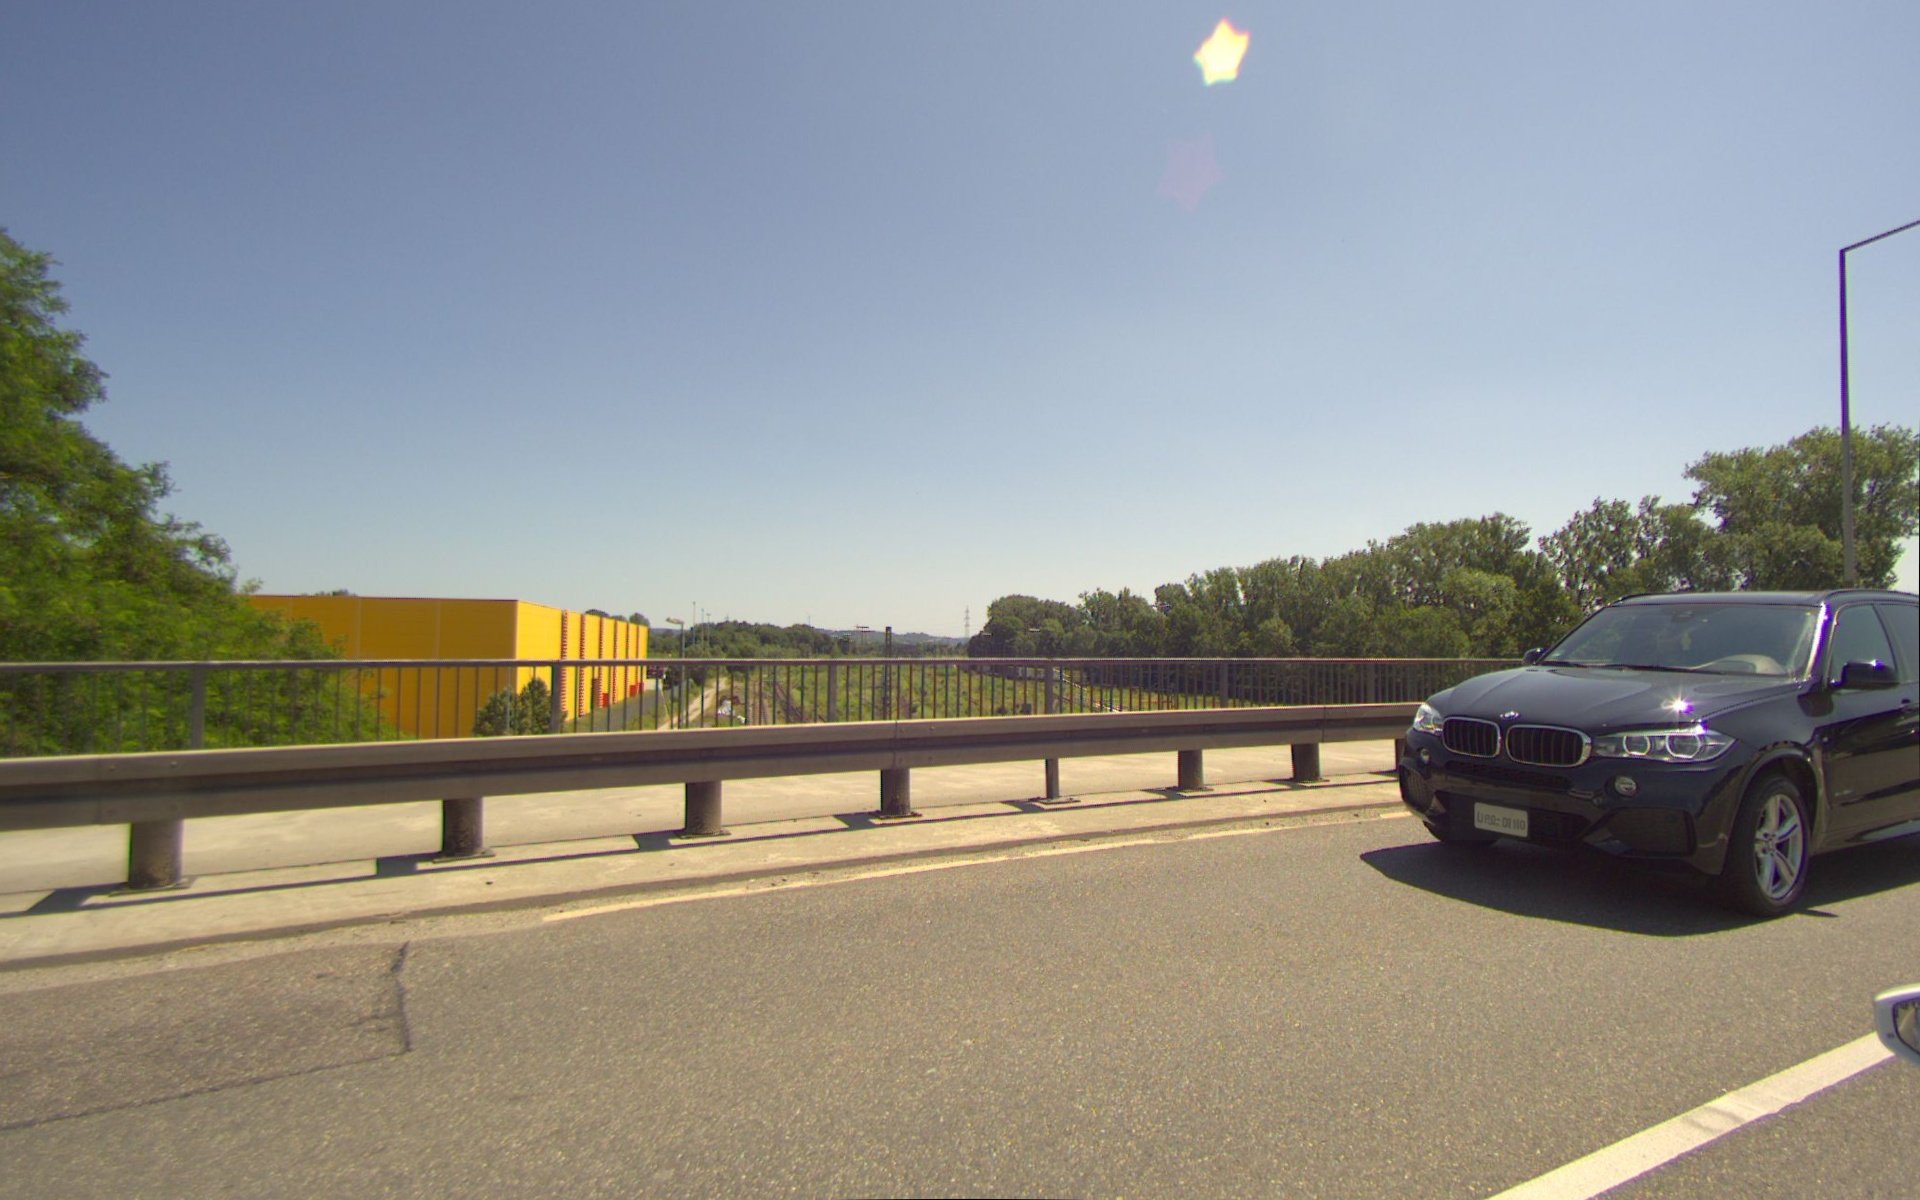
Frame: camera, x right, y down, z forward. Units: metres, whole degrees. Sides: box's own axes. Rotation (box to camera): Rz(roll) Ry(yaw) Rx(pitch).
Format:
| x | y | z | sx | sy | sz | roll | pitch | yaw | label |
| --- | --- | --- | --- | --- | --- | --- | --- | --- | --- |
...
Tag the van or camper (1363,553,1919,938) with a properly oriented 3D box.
| x | y | z | sx | sy | sz | roll | pitch | yaw | label |
| --- | --- | --- | --- | --- | --- | --- | --- | --- | --- |
| 5.088 | 0.771 | 6.636 | 4.638 | 1.784 | 1.986 | 2 | -2 | -27 | van or camper |
